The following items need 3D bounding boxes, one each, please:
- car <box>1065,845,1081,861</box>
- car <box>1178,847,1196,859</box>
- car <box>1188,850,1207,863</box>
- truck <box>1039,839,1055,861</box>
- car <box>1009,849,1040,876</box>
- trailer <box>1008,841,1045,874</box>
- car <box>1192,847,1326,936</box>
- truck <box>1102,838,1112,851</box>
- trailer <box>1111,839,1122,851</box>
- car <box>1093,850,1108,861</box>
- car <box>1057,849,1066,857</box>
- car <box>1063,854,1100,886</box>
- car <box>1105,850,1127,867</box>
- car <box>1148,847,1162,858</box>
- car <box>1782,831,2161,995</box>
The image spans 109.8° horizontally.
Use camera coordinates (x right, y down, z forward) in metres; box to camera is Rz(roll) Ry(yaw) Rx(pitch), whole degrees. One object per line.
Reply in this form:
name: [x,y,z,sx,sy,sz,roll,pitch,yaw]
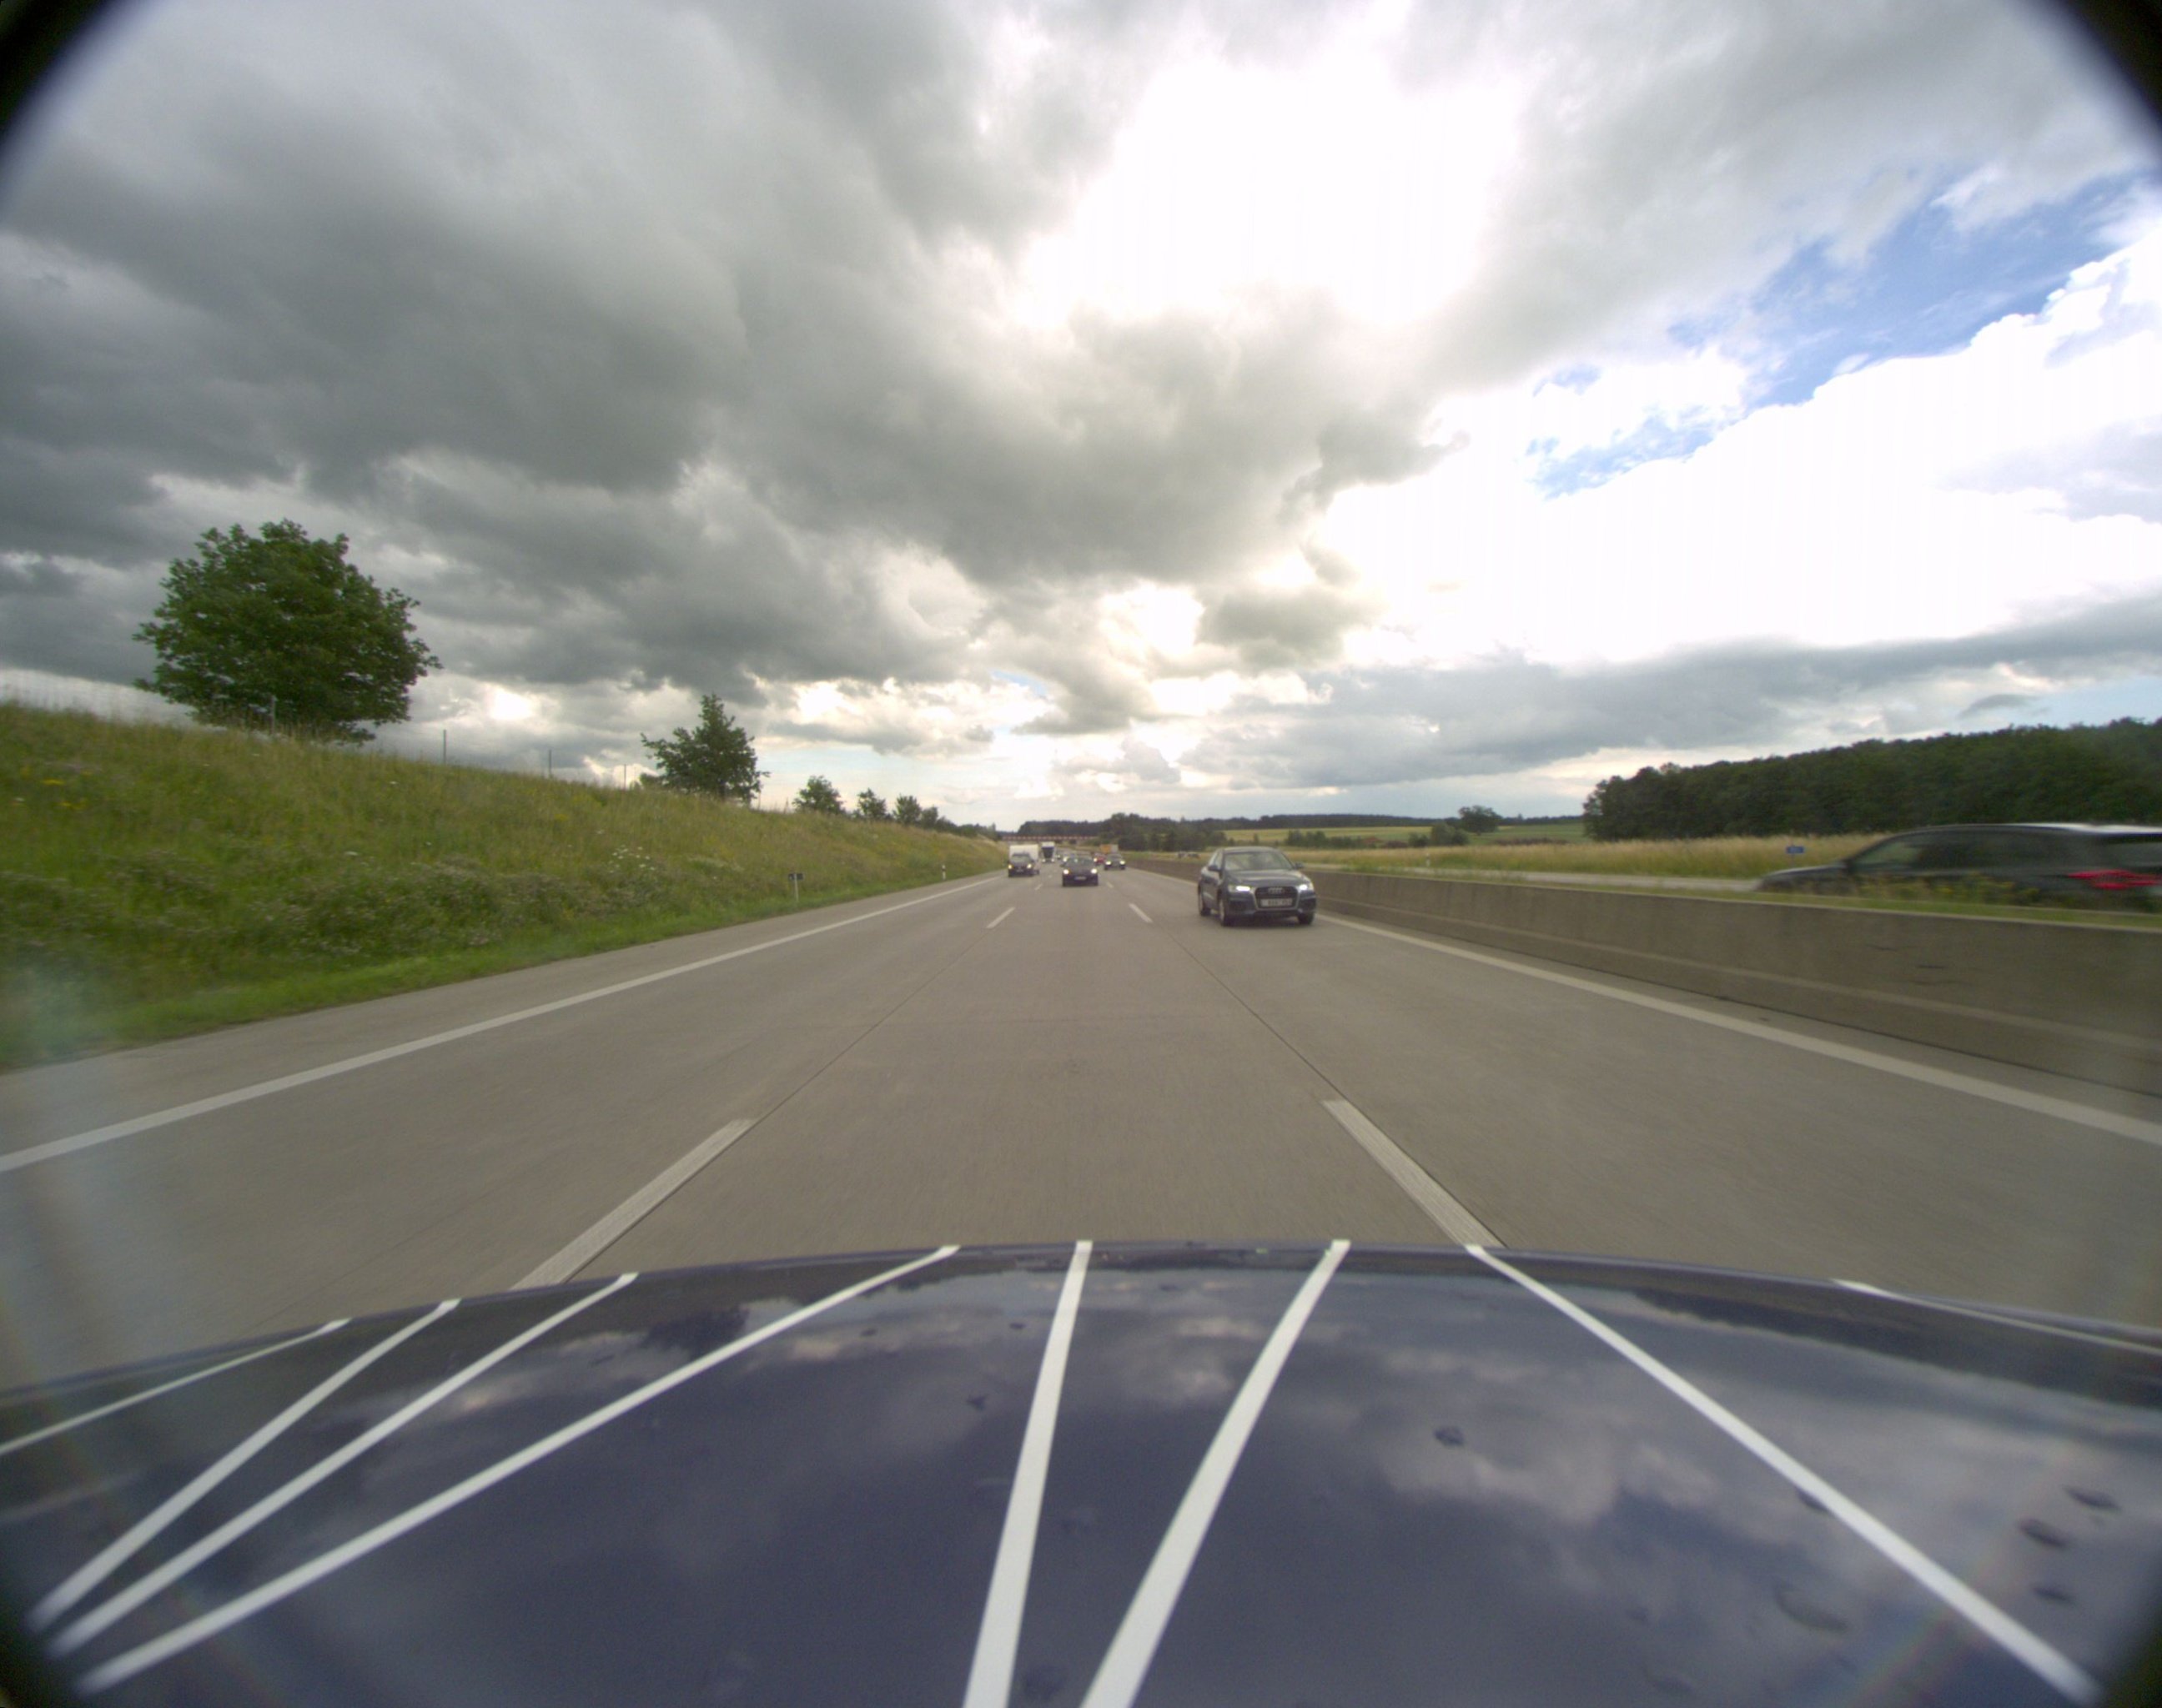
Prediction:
car: [-1.079,-0.128,103.691,1.999,2.002,3.999,-2,0,-2]
car: [15.158,-0.206,109.136,1.998,1.674,4.062,-2,0,0]
car: [14.262,0.289,93.001,1.666,1.390,3.999,-2,0,0]
truck: [-6.695,-0.844,150.572,2.855,4.176,10.706,-2,0,-2]
car: [-4.184,0.600,56.961,1.944,1.799,5.030,-2,1,-1]
trailer: [-4.412,0.234,62.809,2.615,2.520,6.719,-2,1,-1]
car: [3.683,0.684,16.665,1.797,1.587,5.157,-2,1,1]
truck: [8.489,-3.018,249.709,2.824,4.015,10.565,-1,0,-1]
trailer: [12.420,-3.110,264.759,2.847,4.014,13.904,-1,0,-1]
car: [2.691,0.163,104.325,1.821,1.364,3.783,-3,1,3]
car: [-5.029,-0.307,196.937,1.999,2.002,3.999,-2,1,0]
car: [-0.019,0.741,37.827,1.691,1.405,3.999,-2,1,-1]
car: [3.248,0.418,69.727,1.939,1.464,4.000,-2,0,3]
car: [11.372,-0.178,116.899,1.693,1.601,3.999,-2,0,0]
car: [11.890,0.565,9.622,1.998,1.630,4.397,-2,0,1]
